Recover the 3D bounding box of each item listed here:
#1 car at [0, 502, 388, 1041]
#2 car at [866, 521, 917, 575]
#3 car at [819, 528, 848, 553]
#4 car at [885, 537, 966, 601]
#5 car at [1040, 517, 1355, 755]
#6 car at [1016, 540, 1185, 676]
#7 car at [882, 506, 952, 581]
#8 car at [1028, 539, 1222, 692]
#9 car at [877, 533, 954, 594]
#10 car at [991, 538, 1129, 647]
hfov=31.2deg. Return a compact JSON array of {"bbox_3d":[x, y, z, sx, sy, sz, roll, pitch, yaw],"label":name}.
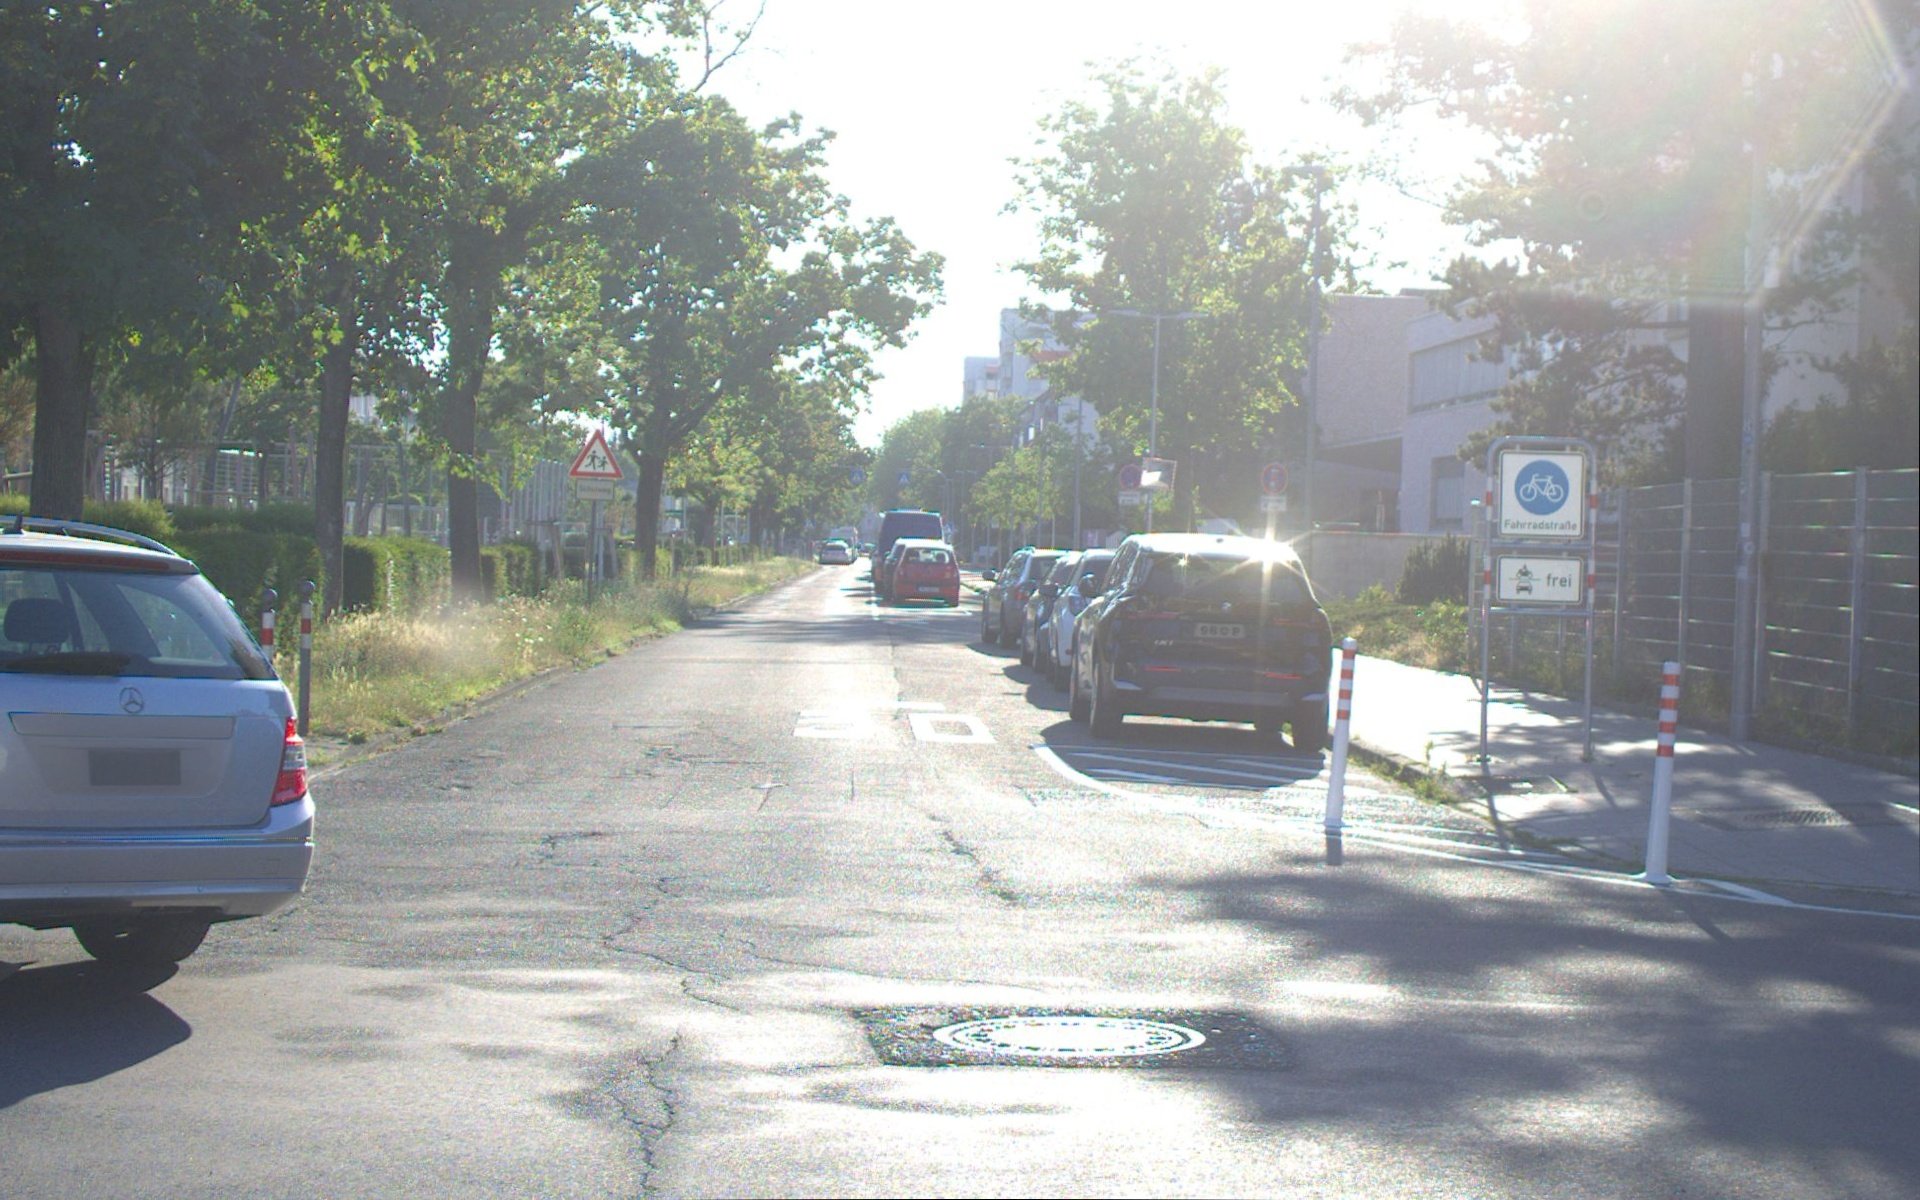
[{"bbox_3d":[-3.884,0.406,11.067,4.213,1.468,1.818,2,1,43],"label":"car"},{"bbox_3d":[-2.847,-2.153,142.341,1.993,2.116,4.000,2,1,-1],"label":"car"},{"bbox_3d":[-8.565,-4.008,232.764,1.865,1.612,4.001,2,1,-3],"label":"car"},{"bbox_3d":[-0.879,-0.785,85.478,1.756,1.513,3.761,2,1,-4],"label":"car"},{"bbox_3d":[1.822,0.232,27.688,1.816,1.636,4.217,4,1,-5],"label":"car"},{"bbox_3d":[1.649,0.063,41.475,1.729,1.513,3.760,2,1,-2],"label":"car"},{"bbox_3d":[-1.300,-1.693,102.967,1.993,2.116,4.000,2,1,-1],"label":"car"},{"bbox_3d":[1.697,0.128,36.489,1.765,1.521,3.773,1,1,-2],"label":"car"},{"bbox_3d":[-1.182,-0.967,89.548,1.729,1.513,3.761,2,1,-4],"label":"car"},{"bbox_3d":[1.435,-0.130,50.641,1.765,1.521,3.773,1,1,-2],"label":"car"}]
